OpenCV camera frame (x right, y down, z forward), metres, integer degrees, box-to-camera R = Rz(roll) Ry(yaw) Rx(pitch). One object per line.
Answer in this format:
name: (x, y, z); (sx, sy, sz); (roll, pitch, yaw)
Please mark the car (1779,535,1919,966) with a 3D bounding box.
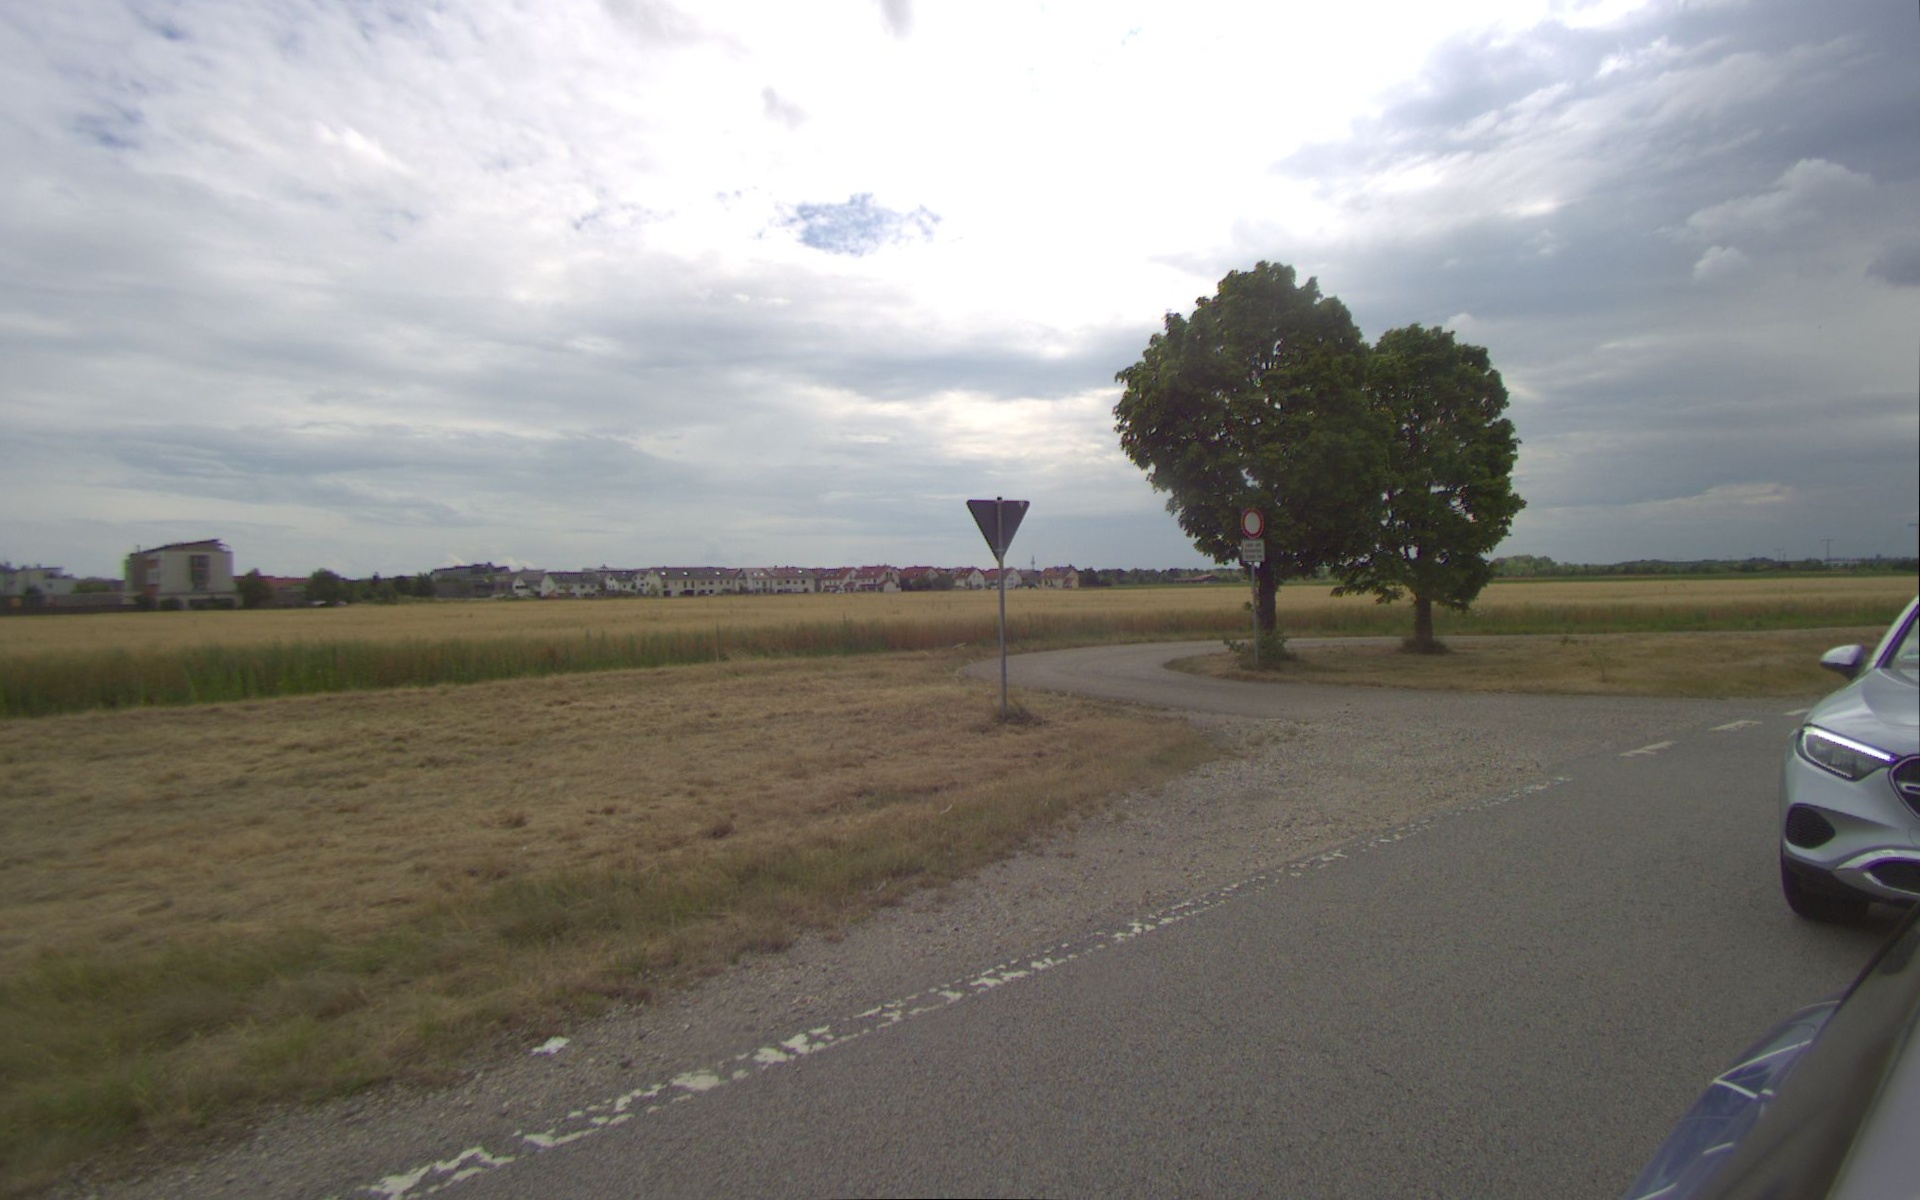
car: (5.550, 0.543, 4.819); (4.372, 1.606, 1.835); (-1, 0, -41)
